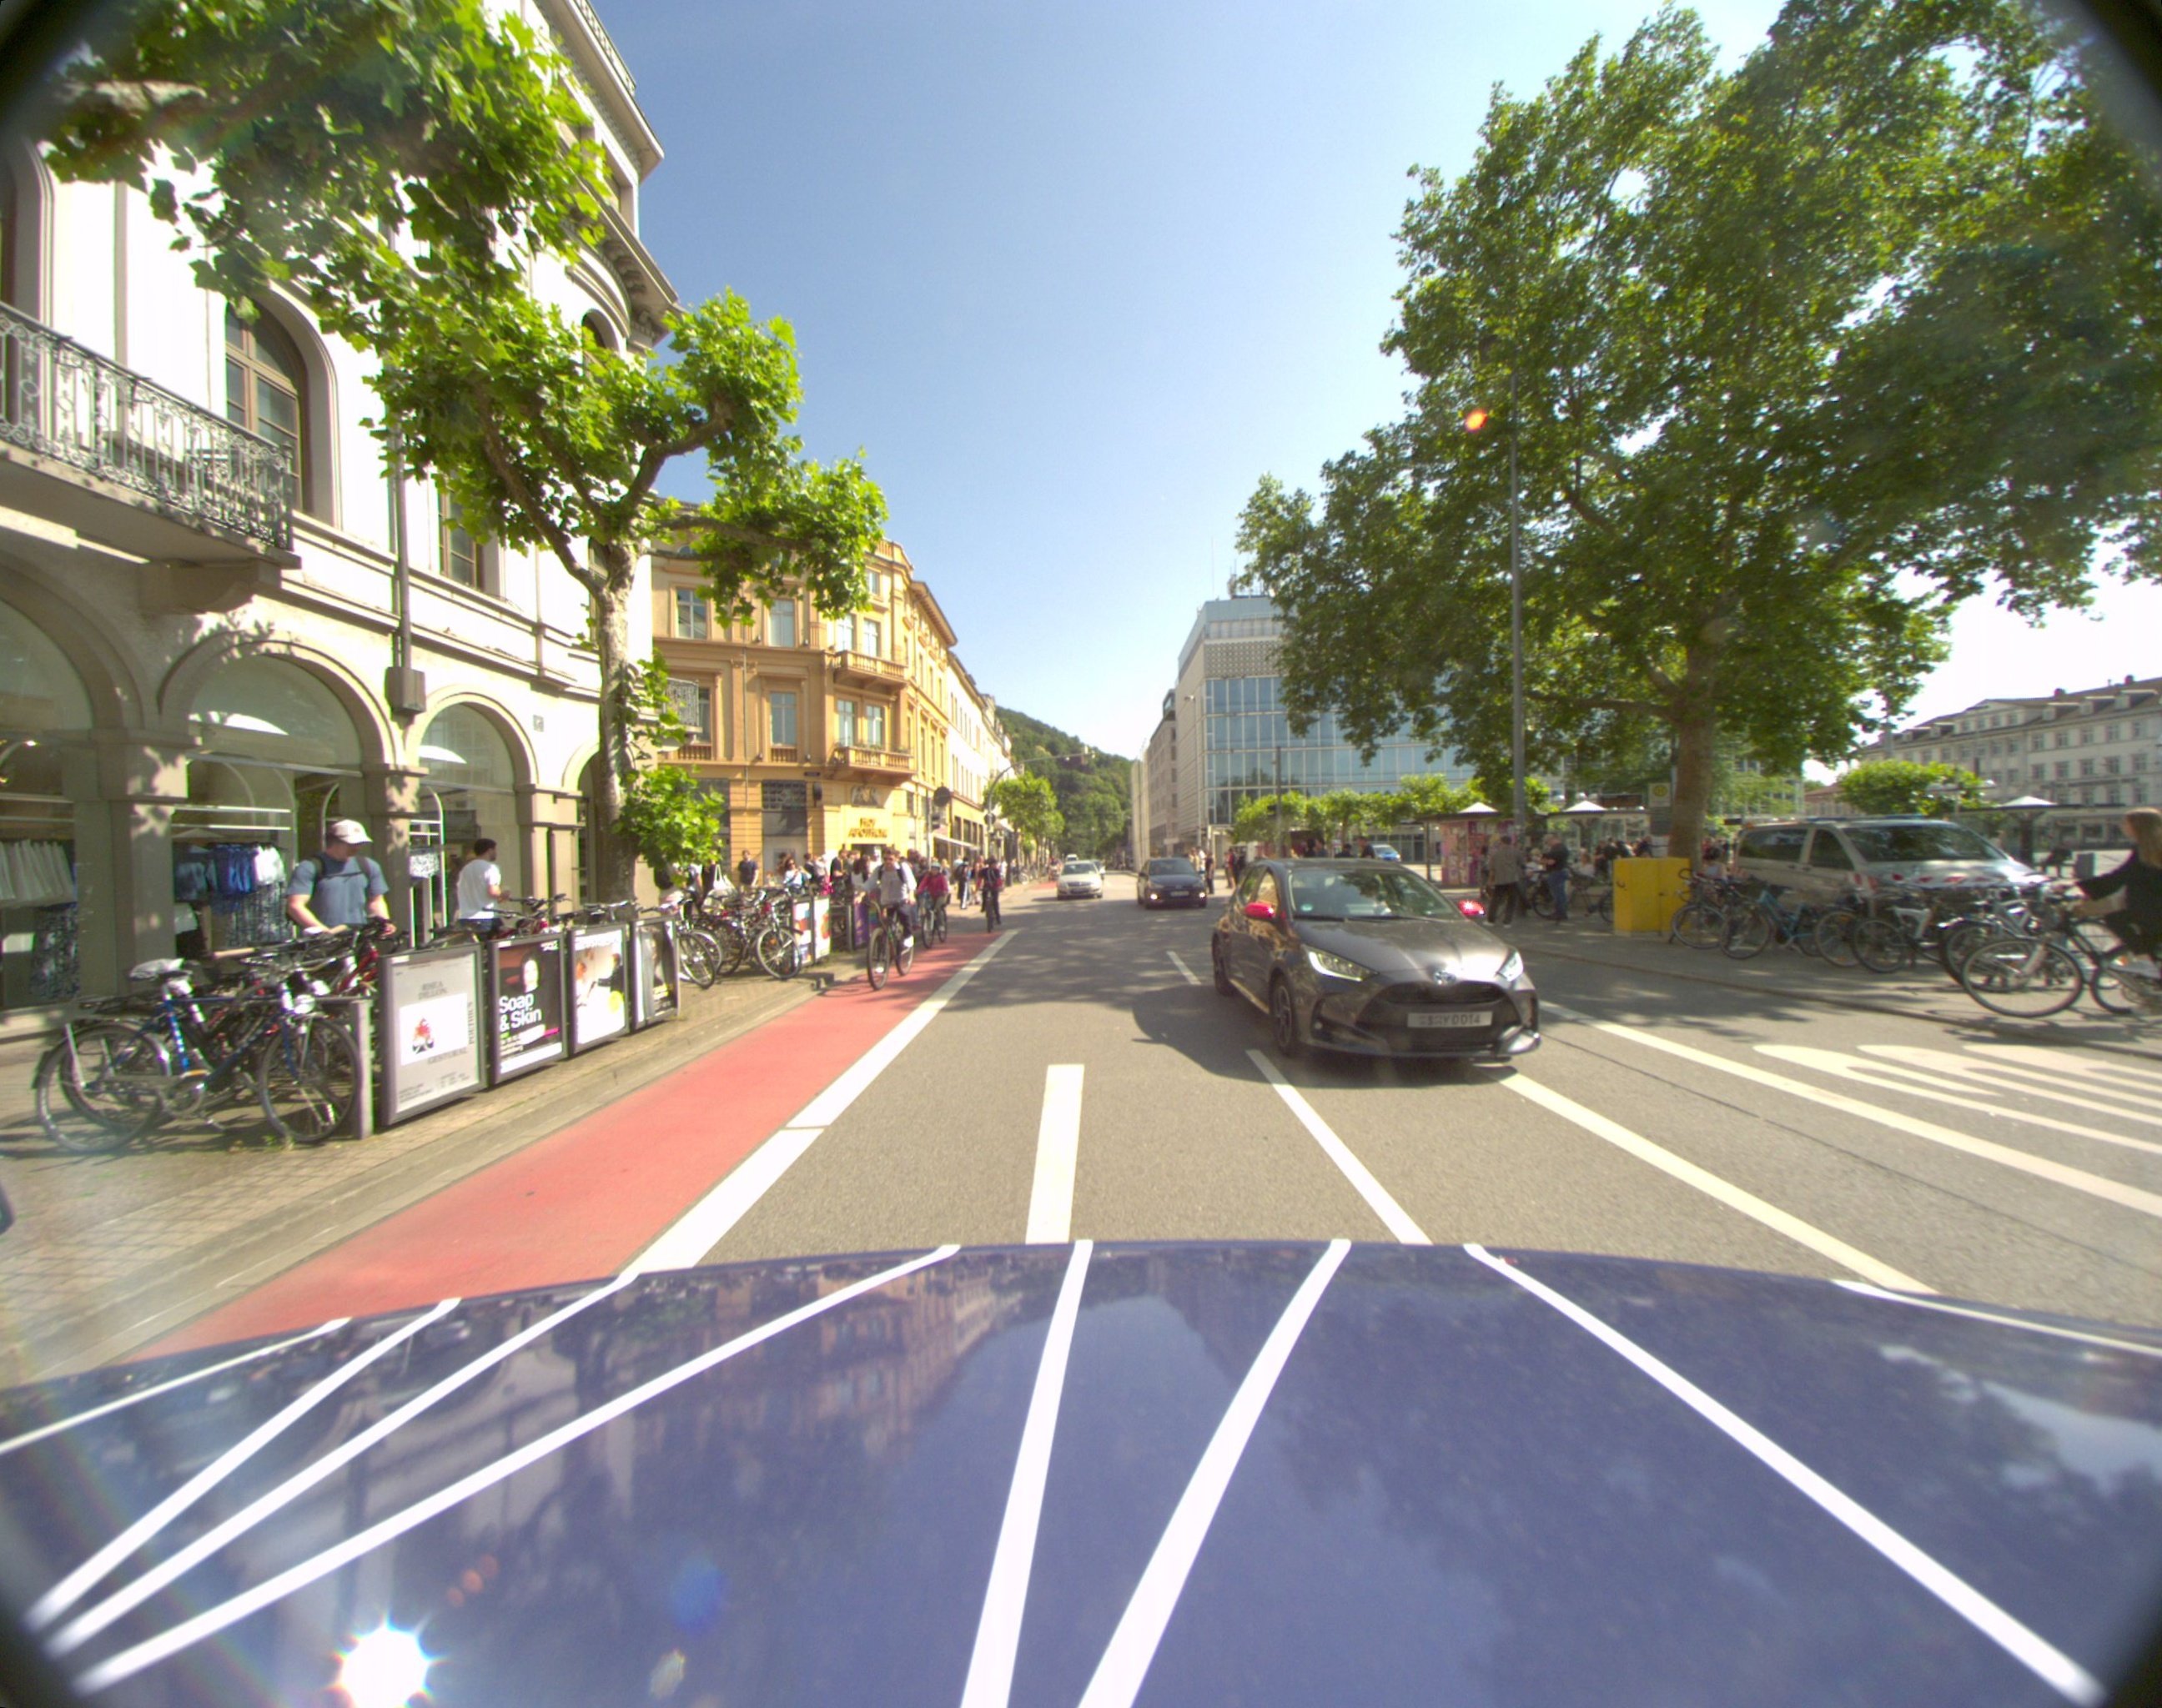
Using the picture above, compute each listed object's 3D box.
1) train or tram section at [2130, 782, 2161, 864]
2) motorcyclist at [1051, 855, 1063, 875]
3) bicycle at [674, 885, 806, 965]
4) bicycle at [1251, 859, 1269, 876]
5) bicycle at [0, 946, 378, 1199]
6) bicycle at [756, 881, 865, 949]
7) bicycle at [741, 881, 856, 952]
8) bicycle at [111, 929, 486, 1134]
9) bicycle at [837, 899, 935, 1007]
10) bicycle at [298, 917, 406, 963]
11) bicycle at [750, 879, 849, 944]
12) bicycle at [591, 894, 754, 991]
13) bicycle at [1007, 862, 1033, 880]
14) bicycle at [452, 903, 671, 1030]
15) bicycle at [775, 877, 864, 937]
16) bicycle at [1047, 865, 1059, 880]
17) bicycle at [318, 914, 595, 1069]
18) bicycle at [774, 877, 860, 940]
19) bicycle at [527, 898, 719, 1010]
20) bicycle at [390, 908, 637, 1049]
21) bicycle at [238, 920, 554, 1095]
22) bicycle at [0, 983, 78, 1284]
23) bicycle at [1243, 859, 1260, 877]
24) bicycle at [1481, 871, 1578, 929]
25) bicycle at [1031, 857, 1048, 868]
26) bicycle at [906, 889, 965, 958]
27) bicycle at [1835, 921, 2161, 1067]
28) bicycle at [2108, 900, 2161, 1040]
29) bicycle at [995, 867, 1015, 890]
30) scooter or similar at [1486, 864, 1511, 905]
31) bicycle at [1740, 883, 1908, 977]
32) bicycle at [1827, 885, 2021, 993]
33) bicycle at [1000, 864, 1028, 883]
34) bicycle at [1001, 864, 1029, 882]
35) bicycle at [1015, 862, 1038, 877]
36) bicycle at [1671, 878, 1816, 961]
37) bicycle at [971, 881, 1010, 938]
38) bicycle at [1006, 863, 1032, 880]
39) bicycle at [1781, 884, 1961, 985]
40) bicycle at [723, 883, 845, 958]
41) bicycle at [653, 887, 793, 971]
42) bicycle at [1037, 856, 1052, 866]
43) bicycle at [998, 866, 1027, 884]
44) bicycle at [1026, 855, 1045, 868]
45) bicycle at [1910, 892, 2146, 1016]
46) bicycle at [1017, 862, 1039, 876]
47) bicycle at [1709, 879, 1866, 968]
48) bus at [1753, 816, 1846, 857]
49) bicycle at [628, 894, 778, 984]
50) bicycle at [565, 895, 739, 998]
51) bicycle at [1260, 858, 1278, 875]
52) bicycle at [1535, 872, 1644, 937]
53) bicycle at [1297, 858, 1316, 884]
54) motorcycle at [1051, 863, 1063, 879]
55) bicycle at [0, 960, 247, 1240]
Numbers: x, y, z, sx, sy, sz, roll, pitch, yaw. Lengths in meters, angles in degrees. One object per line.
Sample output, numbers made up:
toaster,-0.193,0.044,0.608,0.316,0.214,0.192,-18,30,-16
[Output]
train or tram section,49.344,-1.390,32.120,2.615,3.805,9.536,-3,1,34
motorcyclist,-1.702,0.780,54.249,0.736,1.446,0.707,-3,1,0
bicycle,-5.339,1.100,11.956,1.757,1.151,0.592,-2,1,-2
bicycle,12.361,0.917,52.464,0.592,1.140,1.757,-2,0,-8
bicycle,-4.958,1.125,4.067,1.757,1.140,0.592,-2,1,-2
bicycle,-4.931,1.100,13.918,1.757,1.140,0.592,-2,1,-2
bicycle,-4.917,1.085,13.296,1.757,1.140,0.592,-2,1,-2
bicycle,-5.036,1.120,4.971,1.757,1.140,0.592,-2,1,-2
bicycle,-2.418,1.189,9.671,0.736,1.086,1.897,-3,0,-1
bicycle,-18.695,2.199,19.510,2.006,0.970,0.500,-3,1,-10
bicycle,-5.372,1.088,14.546,1.660,1.140,0.523,-2,1,-2
bicycle,-5.274,1.130,9.878,1.757,1.140,0.592,-2,1,-2
bicycle,-4.295,1.190,53.352,1.757,1.140,0.592,-2,1,-2
bicycle,-5.213,1.115,7.697,1.757,1.140,0.592,-2,1,-2
bicycle,-5.355,1.082,15.604,1.632,1.140,0.425,-2,1,-2
bicycle,-2.159,1.418,58.838,0.736,1.086,1.897,-3,0,0
bicycle,-5.173,1.120,6.365,1.757,1.140,0.592,-2,1,-2
bicycle,-5.248,1.080,15.157,1.533,1.190,0.425,-2,1,-2
bicycle,-5.139,1.107,8.599,1.757,1.140,0.598,-2,1,-2
bicycle,-5.171,1.119,6.998,1.757,1.140,0.592,-2,1,-2
bicycle,-5.080,1.118,5.710,1.757,1.140,0.592,-2,1,-2
bicycle,-5.113,1.135,2.868,1.757,1.140,0.592,-2,1,-2
bicycle,11.751,0.960,52.397,0.592,1.140,1.757,-2,0,-8
bicycle,9.359,0.954,15.882,1.757,1.140,0.483,-2,1,-2
bicycle,-4.250,0.874,77.794,1.757,1.140,0.592,-2,1,-2
bicycle,-2.650,1.243,14.037,0.736,1.086,1.819,-3,0,-1
bicycle,8.240,1.123,6.360,2.619,1.017,0.833,-3,1,36
bicycle,9.961,0.971,6.504,1.757,1.140,0.483,-2,1,-2
bicycle,-3.810,1.220,37.924,0.737,1.086,1.895,2,0,-13
scooter or similar,11.725,0.859,21.353,0.567,1.113,0.539,-3,1,27
bicycle,9.728,0.978,9.972,1.757,1.140,0.483,-2,1,-2
bicycle,9.745,0.970,8.807,1.757,1.140,0.483,-2,1,-2
bicycle,-4.347,1.258,49.177,1.757,1.140,0.592,-2,1,-2
bicycle,-4.364,1.245,50.032,1.757,1.140,0.592,-2,1,-2
bicycle,-4.282,1.223,59.999,1.757,1.140,0.592,-2,1,-2
bicycle,9.817,0.952,11.274,1.757,1.140,0.483,-2,1,-2
bicycle,-1.999,1.207,16.945,0.667,1.086,1.897,-3,0,-3
bicycle,-4.300,1.225,52.611,1.757,1.140,0.592,-2,1,-2
bicycle,9.715,0.969,9.362,1.757,1.140,0.483,-2,1,-2
bicycle,-4.897,1.086,12.591,1.757,1.140,0.592,-2,1,-2
bicycle,-5.322,1.102,11.354,1.757,1.140,0.592,-2,1,-2
bicycle,-4.180,0.819,86.974,1.757,1.140,0.592,-2,1,-2
bicycle,-4.328,1.319,47.998,1.757,1.029,0.592,-2,1,-2
bicycle,-4.255,0.731,71.473,1.757,1.140,0.592,-2,1,-2
bicycle,9.593,0.994,7.721,1.865,1.140,0.483,-2,1,-2
bicycle,-4.325,1.228,62.024,1.757,1.140,0.592,-2,1,-2
bicycle,9.819,0.957,10.581,1.757,1.140,0.483,-2,1,-2
bus,58.509,-1.509,61.726,12.202,2.774,2.384,-3,1,-32
bicycle,-5.240,1.169,10.602,1.757,1.140,0.592,-2,1,-2
bicycle,-5.185,1.106,9.243,1.757,1.140,0.518,-2,1,-2
bicycle,12.987,0.860,52.555,0.592,1.140,1.757,-2,0,-8
bicycle,9.609,0.947,14.376,1.757,1.140,0.483,-2,1,-2
bicycle,10.743,0.779,36.259,0.729,1.137,1.914,-3,0,14
motorcycle,-1.692,1.205,54.219,0.736,1.086,1.897,-3,0,0
bicycle,-5.113,1.131,3.574,1.707,1.140,0.519,-2,1,-2
